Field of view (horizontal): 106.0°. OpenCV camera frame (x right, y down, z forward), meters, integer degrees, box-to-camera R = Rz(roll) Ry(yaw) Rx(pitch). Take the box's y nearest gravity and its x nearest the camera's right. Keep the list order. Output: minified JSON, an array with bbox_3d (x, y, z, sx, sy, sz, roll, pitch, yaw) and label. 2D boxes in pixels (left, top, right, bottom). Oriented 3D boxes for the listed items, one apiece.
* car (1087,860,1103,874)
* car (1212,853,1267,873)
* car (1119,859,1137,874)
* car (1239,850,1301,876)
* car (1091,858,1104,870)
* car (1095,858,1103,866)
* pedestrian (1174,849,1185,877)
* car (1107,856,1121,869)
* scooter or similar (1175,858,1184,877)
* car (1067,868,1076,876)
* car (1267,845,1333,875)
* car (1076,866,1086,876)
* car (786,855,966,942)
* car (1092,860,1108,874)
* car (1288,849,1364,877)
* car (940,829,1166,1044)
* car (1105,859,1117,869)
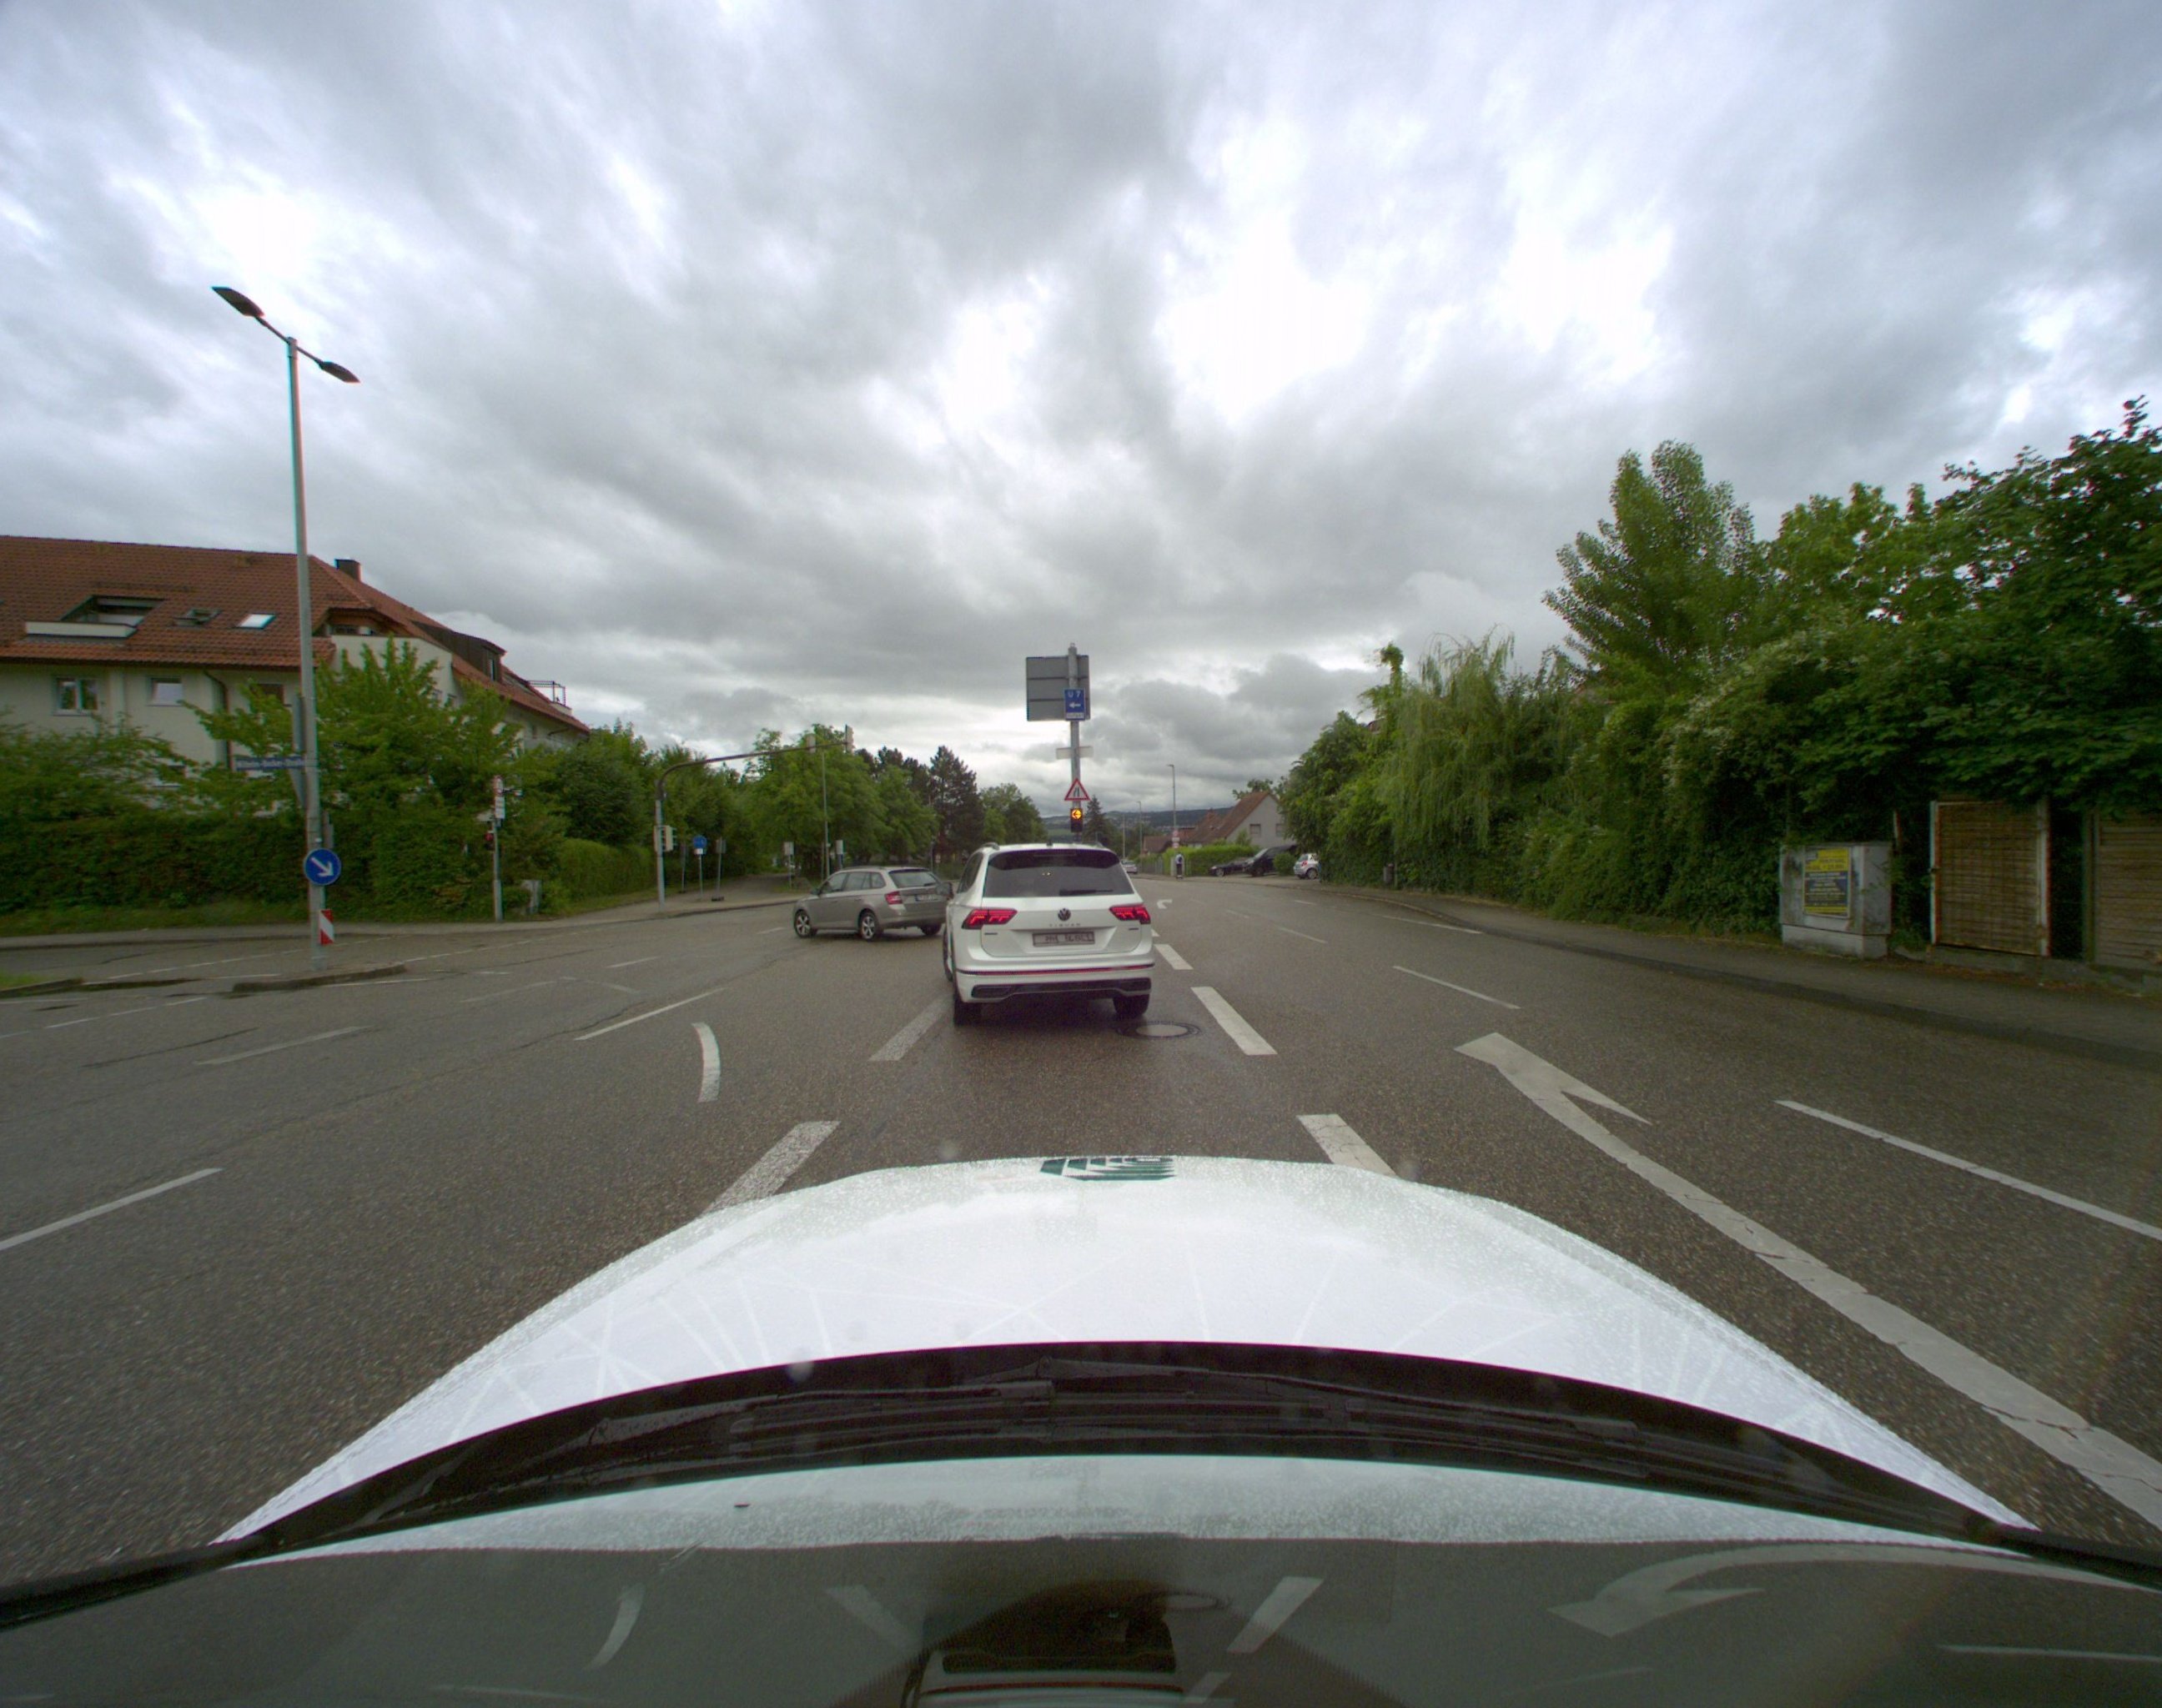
[{"bbox_3d":[1.680,1.551,98.185,1.748,1.574,4.002,-2,0,2],"label":"car"},{"bbox_3d":[11.372,0.669,58.643,3.676,1.370,1.518,-1,-2,-1],"label":"car"},{"bbox_3d":[5.249,1.416,91.083,1.844,1.574,4.002,0,0,2],"label":"car"},{"bbox_3d":[12.456,0.573,53.776,3.619,1.626,1.789,-1,0,-3],"label":"car"},{"bbox_3d":[2.280,1.362,110.441,1.732,1.574,4.002,-2,0,2],"label":"car"},{"bbox_3d":[4.182,1.876,191.788,1.844,1.574,4.002,-2,0,2],"label":"car"},{"bbox_3d":[7.188,0.638,59.630,0.654,2.002,0.717,-1,0,-2],"label":"pedestrian"},{"bbox_3d":[4.406,1.116,109.638,1.844,1.574,4.003,0,2,2],"label":"car"},{"bbox_3d":[7.197,0.988,59.634,0.460,1.361,1.383,-1,0,-2],"label":"scooter or similar"},{"bbox_3d":[-2.260,4.284,191.205,1.880,1.794,4.000,-2,0,1],"label":"car"},{"bbox_3d":[13.796,0.390,51.429,3.618,1.746,1.706,-2,0,-3],"label":"car"},{"bbox_3d":[-0.012,3.416,163.737,1.880,1.794,4.002,-2,0,2],"label":"car"},{"bbox_3d":[-4.383,0.873,17.159,3.876,1.589,1.815,-2,0,43],"label":"car"},{"bbox_3d":[2.150,1.464,91.255,1.658,1.427,4.307,0,0,2],"label":"car"},{"bbox_3d":[13.803,0.505,45.959,3.709,1.395,1.725,-2,-1,-6],"label":"car"},{"bbox_3d":[-0.565,0.658,8.752,1.764,1.696,4.256,-1,0,-11],"label":"car"},{"bbox_3d":[4.958,1.688,134.459,1.844,1.574,4.002,-2,0,2],"label":"car"}]
